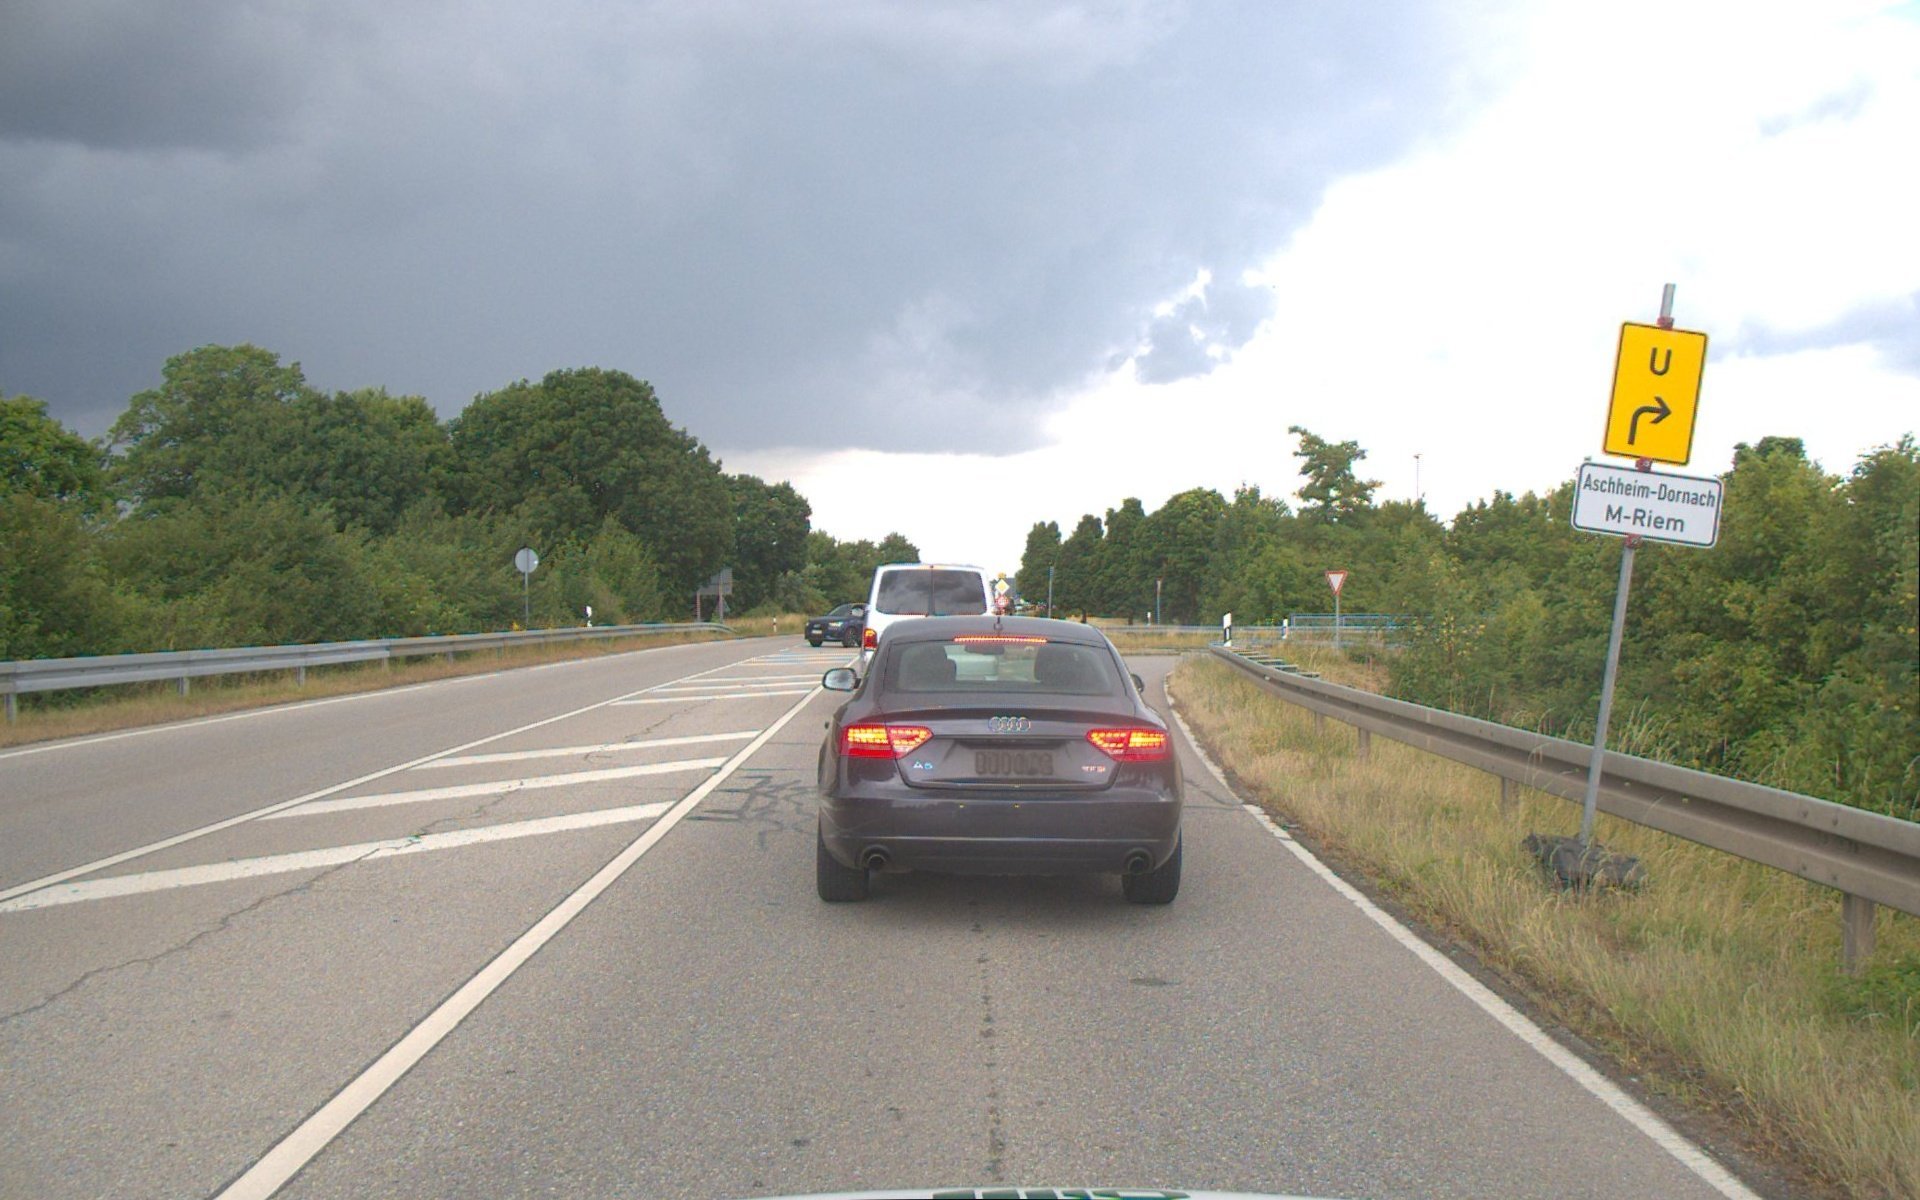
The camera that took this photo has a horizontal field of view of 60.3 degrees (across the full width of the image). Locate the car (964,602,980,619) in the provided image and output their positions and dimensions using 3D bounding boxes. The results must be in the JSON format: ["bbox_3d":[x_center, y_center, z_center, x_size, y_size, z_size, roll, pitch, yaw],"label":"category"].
[{"bbox_3d":[1.443,1.290,200.911,1.952,2.049,4.000,1,0,1],"label":"car"}]

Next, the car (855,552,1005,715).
[{"bbox_3d":[-0.445,0.412,23.019,1.872,2.049,3.999,1,0,-2],"label":"car"}]

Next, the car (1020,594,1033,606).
[{"bbox_3d":[9.983,0.048,248.756,1.952,1.722,4.000,1,0,1],"label":"car"}]

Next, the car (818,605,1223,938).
[{"bbox_3d":[0.207,0.748,8.816,1.744,1.423,3.335,0,0,-2],"label":"car"}]

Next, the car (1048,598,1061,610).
[{"bbox_3d":[13.812,0.635,241.714,1.836,1.722,4.002,1,0,4],"label":"car"}]

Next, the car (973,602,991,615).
[{"bbox_3d":[2.881,1.098,217.920,2.161,1.610,4.377,1,0,-2],"label":"car"}]

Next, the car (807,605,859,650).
[{"bbox_3d":[-4.660,0.974,61.041,1.675,1.545,4.208,1,0,-2],"label":"car"}]
